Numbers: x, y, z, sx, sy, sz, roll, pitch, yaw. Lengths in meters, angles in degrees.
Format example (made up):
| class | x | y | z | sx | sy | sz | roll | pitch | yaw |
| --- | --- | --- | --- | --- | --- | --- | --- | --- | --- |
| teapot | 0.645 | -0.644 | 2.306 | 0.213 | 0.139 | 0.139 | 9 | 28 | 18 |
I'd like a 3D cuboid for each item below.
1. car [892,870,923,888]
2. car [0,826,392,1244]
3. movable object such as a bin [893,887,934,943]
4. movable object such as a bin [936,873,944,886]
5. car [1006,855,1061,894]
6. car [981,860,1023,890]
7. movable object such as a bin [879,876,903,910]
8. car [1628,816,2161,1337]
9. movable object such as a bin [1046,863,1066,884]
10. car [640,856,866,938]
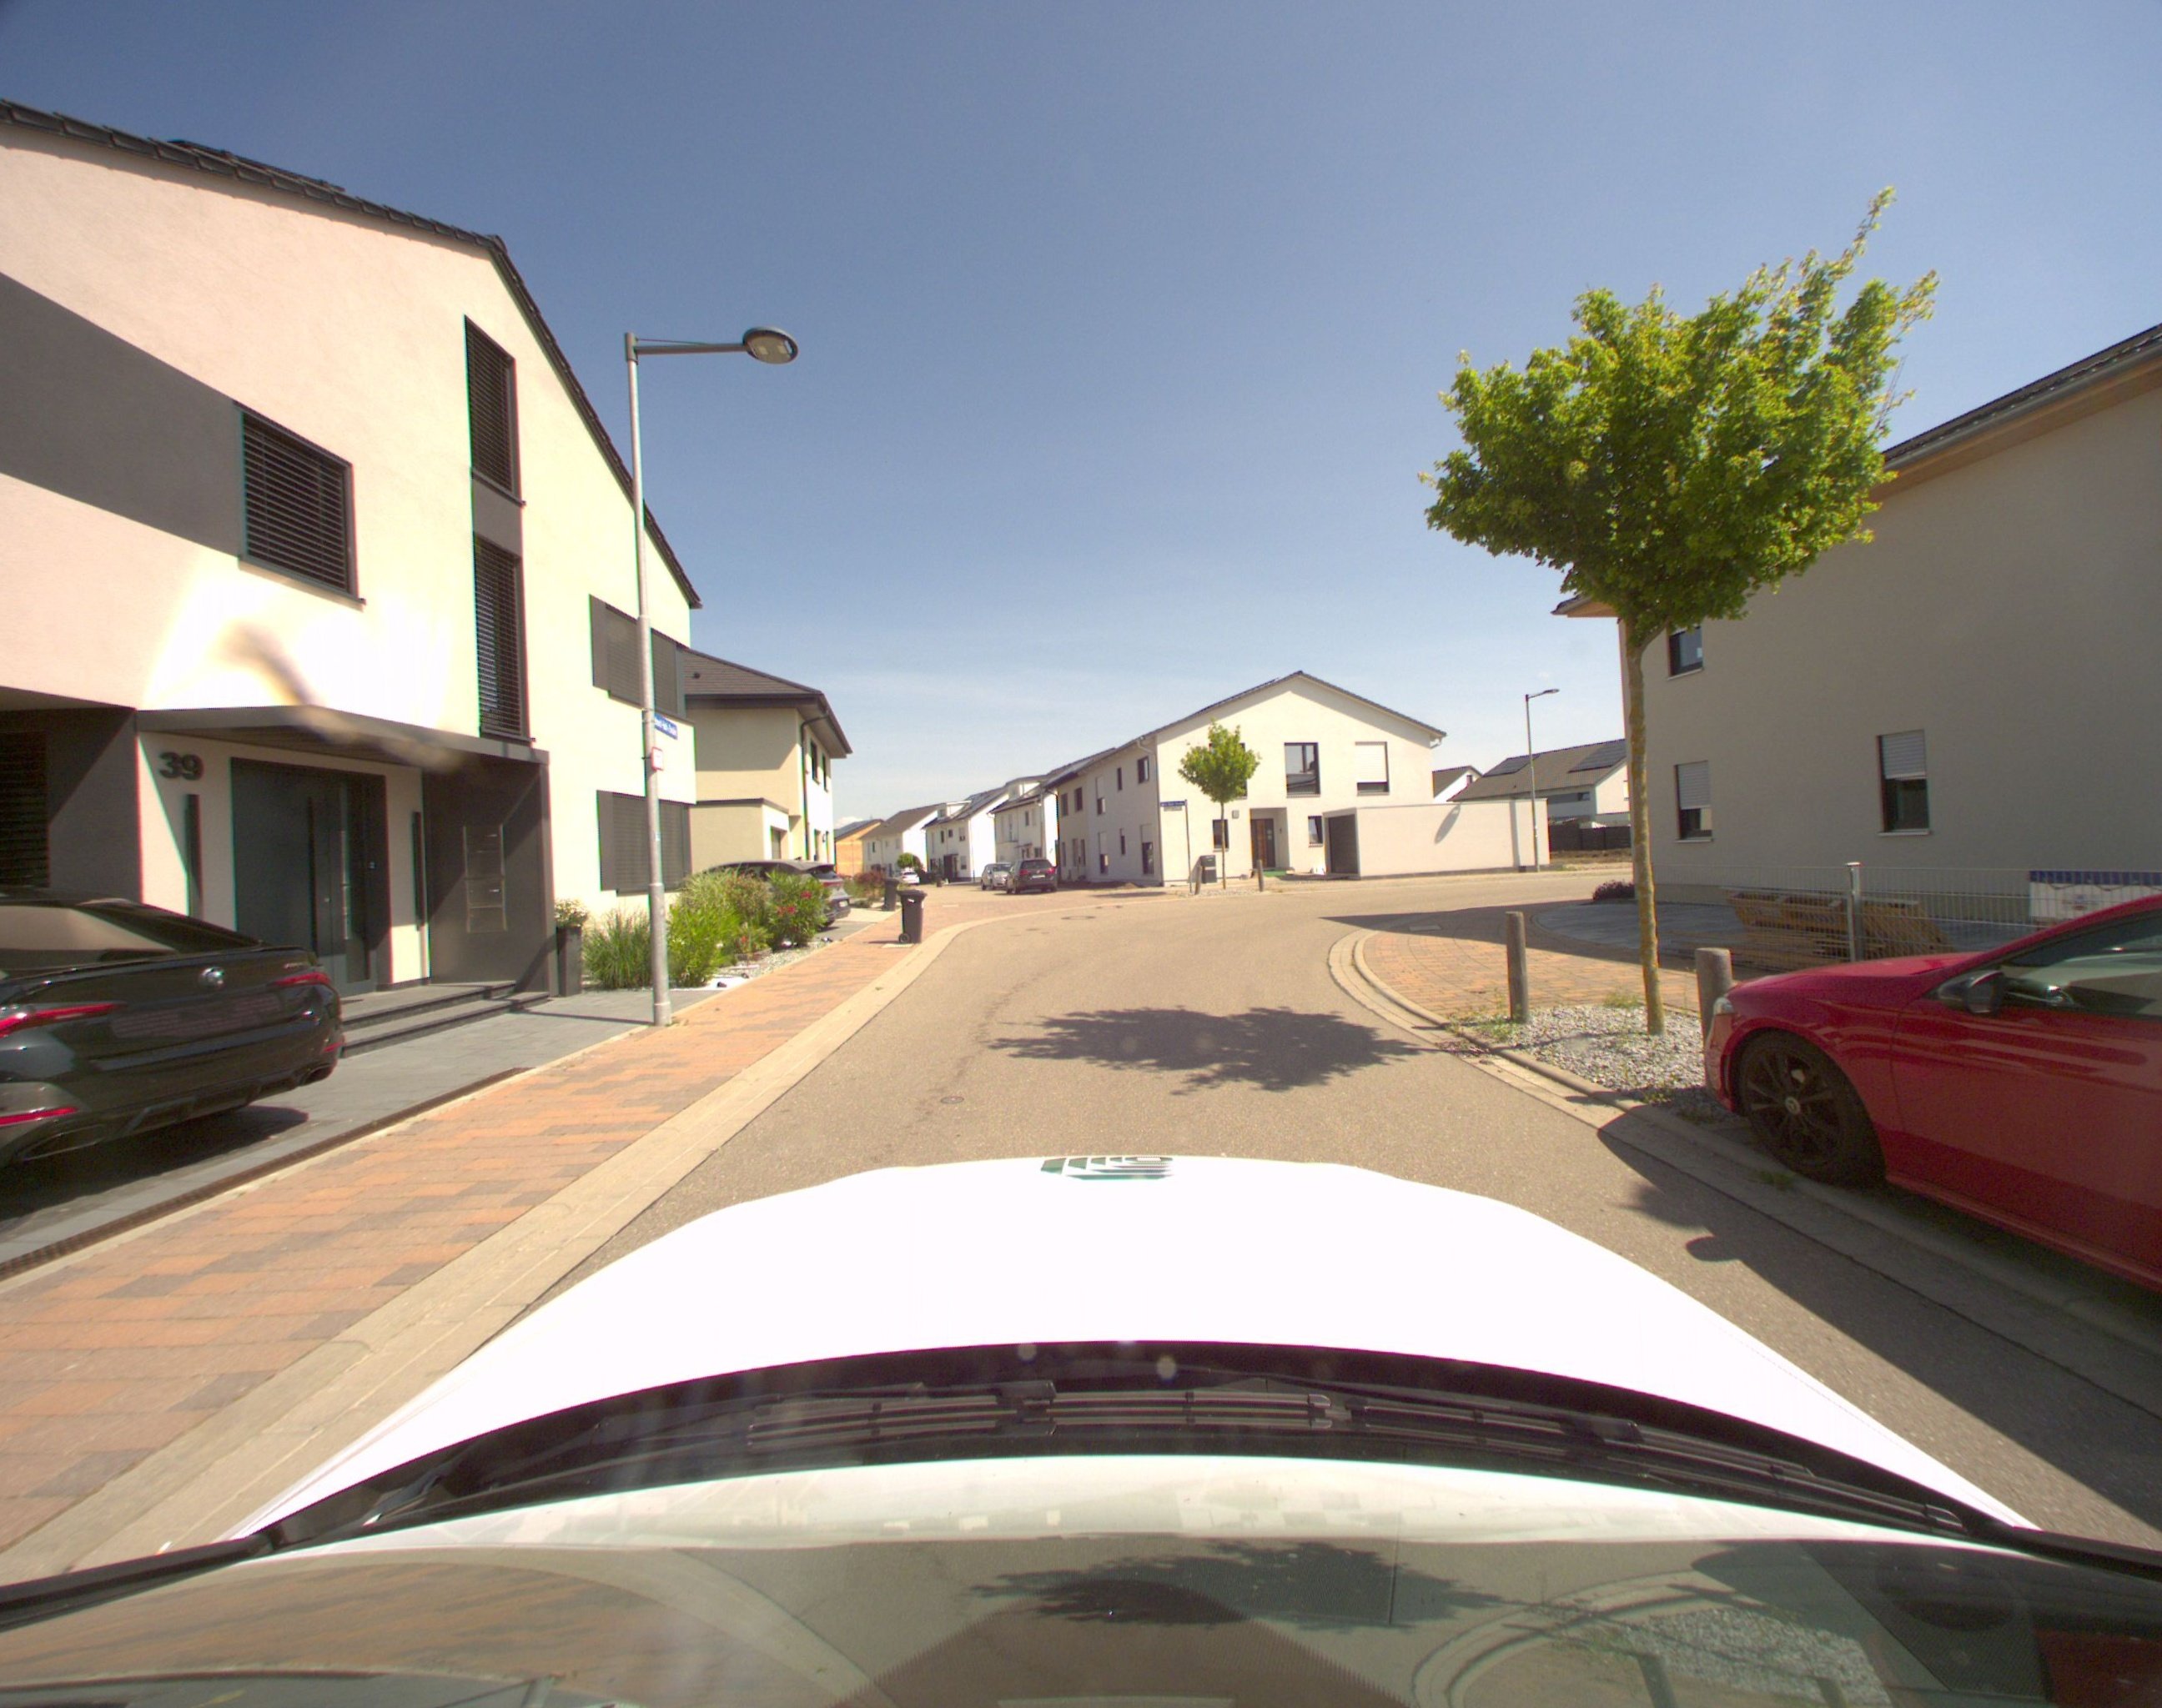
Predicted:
| class | x | y | z | sx | sy | sz | roll | pitch | yaw |
| --- | --- | --- | --- | --- | --- | --- | --- | --- | --- |
| car | -16.326 | 2.363 | 76.591 | 1.790 | 1.596 | 3.964 | -3 | 0 | -27 |
| car | -6.397 | 0.799 | 4.060 | 4.360 | 1.631 | 1.771 | -2 | -1 | 0 |
| movable object such as a bin | -2.925 | 1.058 | 14.246 | 0.531 | 0.936 | 0.527 | -1 | 0 | 10 |
| movable object such as a bin | -10.901 | 1.978 | 62.962 | 0.558 | 0.949 | 0.245 | -3 | -1 | -18 |
| car | -2.052 | 0.851 | 34.132 | 1.727 | 1.423 | 3.985 | -3 | 0 | -10 |
| car | -4.267 | 1.103 | 43.742 | 1.679 | 1.464 | 3.926 | -3 | 0 | -13 |
| movable object such as a bin | -5.319 | 1.088 | 22.803 | 0.614 | 0.927 | 0.422 | 0 | -2 | -10 |
| car | 3.924 | 0.605 | 2.292 | 1.756 | 1.438 | 4.521 | -4 | 0 | 2 |
| movable object such as a bin | -1.345 | 1.018 | 43.707 | 0.786 | 1.050 | 0.800 | -5 | 0 | -16 |
| car | -6.818 | 0.865 | 17.192 | 3.971 | 1.486 | 1.755 | -2 | 0 | 2 |
